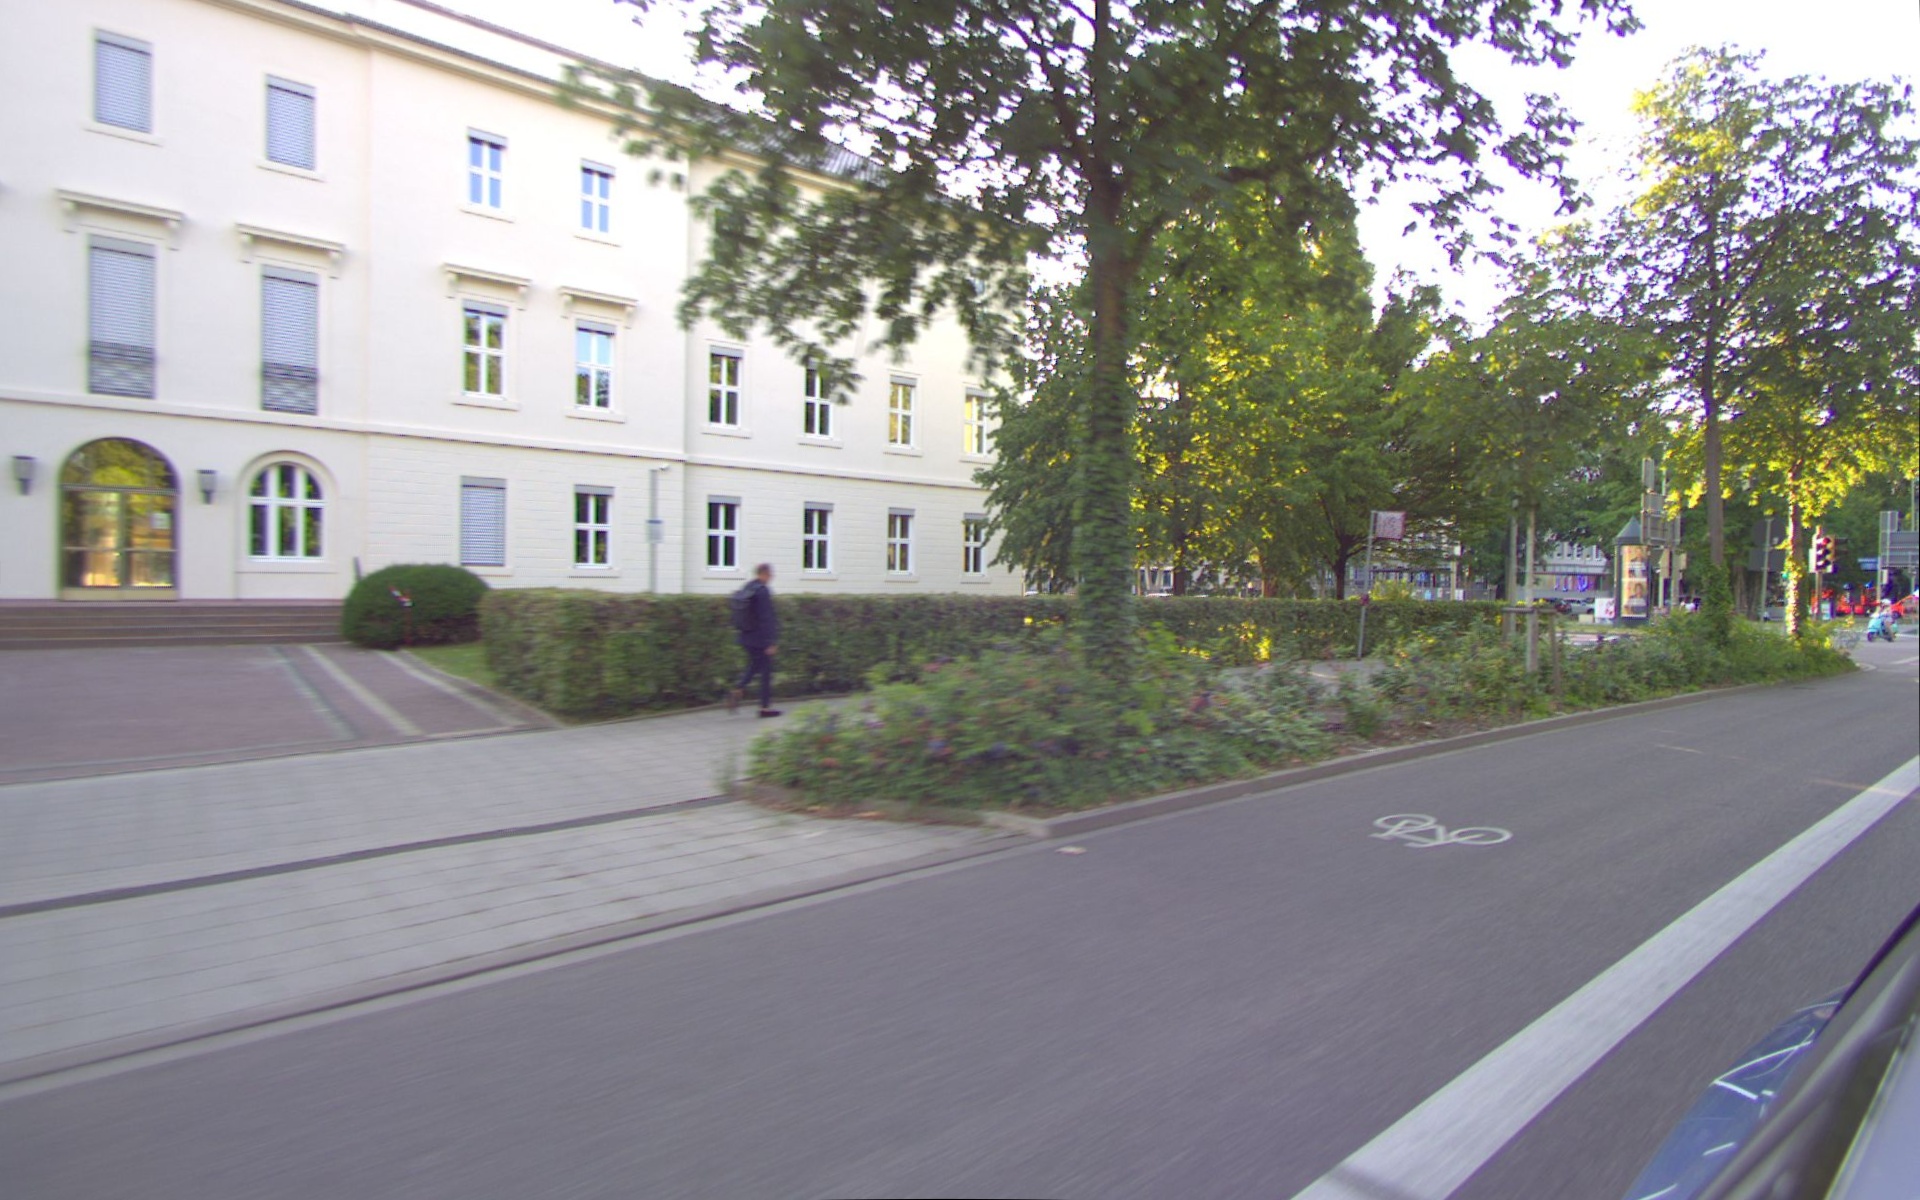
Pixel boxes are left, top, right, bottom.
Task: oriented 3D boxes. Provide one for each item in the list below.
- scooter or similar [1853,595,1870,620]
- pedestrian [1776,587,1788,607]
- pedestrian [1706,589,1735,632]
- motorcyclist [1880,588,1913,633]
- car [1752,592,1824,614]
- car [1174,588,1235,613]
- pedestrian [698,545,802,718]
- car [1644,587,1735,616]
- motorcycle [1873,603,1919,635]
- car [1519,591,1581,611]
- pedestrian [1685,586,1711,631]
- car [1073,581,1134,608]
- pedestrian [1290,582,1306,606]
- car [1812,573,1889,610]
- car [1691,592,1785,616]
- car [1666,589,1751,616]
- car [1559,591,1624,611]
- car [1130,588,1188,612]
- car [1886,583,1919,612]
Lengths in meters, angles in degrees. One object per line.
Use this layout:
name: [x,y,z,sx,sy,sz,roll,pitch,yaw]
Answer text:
scooter or similar: [47.261,0.370,53.059,1.157,1.288,0.441,0,0,-37]
pedestrian: [78.684,-0.280,96.875,0.830,1.865,0.683,1,0,-35]
pedestrian: [30.002,0.404,39.924,0.829,1.643,0.683,1,0,-36]
motorcyclist: [36.980,0.406,39.953,0.676,1.759,0.742,0,-1,-23]
car: [58.775,0.187,71.892,1.631,1.477,3.670,0,1,-31]
car: [16.736,-0.005,69.334,1.862,1.660,4.005,0,1,-29]
pedestrian: [-2.243,0.314,10.832,0.770,1.760,0.794,1,0,45]
car: [46.027,0.085,63.919,1.880,1.762,4.243,0,1,-30]
motorcycle: [36.977,0.745,39.943,1.854,1.213,0.685,0,-1,-23]
car: [44.796,0.077,76.882,1.736,1.477,3.629,0,1,-34]
pedestrian: [29.563,0.326,40.538,0.675,1.776,0.683,1,0,-36]
car: [10.520,-0.365,74.551,2.016,1.886,4.498,0,-1,-32]
pedestrian: [25.000,-0.456,74.780,0.690,1.760,0.897,0,0,-27]
car: [81.671,-0.809,92.762,8.131,3.284,2.777,0,1,-30]
car: [51.170,0.224,66.631,1.881,1.482,4.523,0,1,-33]
car: [48.341,0.149,65.467,1.880,1.631,4.005,0,1,-29]
car: [49.527,0.047,79.491,1.878,1.540,3.923,0,1,-27]
car: [14.374,-0.018,73.331,1.960,1.632,4.004,0,1,-30]
car: [83.026,-0.198,86.663,1.961,2.422,5.172,0,1,-33]
